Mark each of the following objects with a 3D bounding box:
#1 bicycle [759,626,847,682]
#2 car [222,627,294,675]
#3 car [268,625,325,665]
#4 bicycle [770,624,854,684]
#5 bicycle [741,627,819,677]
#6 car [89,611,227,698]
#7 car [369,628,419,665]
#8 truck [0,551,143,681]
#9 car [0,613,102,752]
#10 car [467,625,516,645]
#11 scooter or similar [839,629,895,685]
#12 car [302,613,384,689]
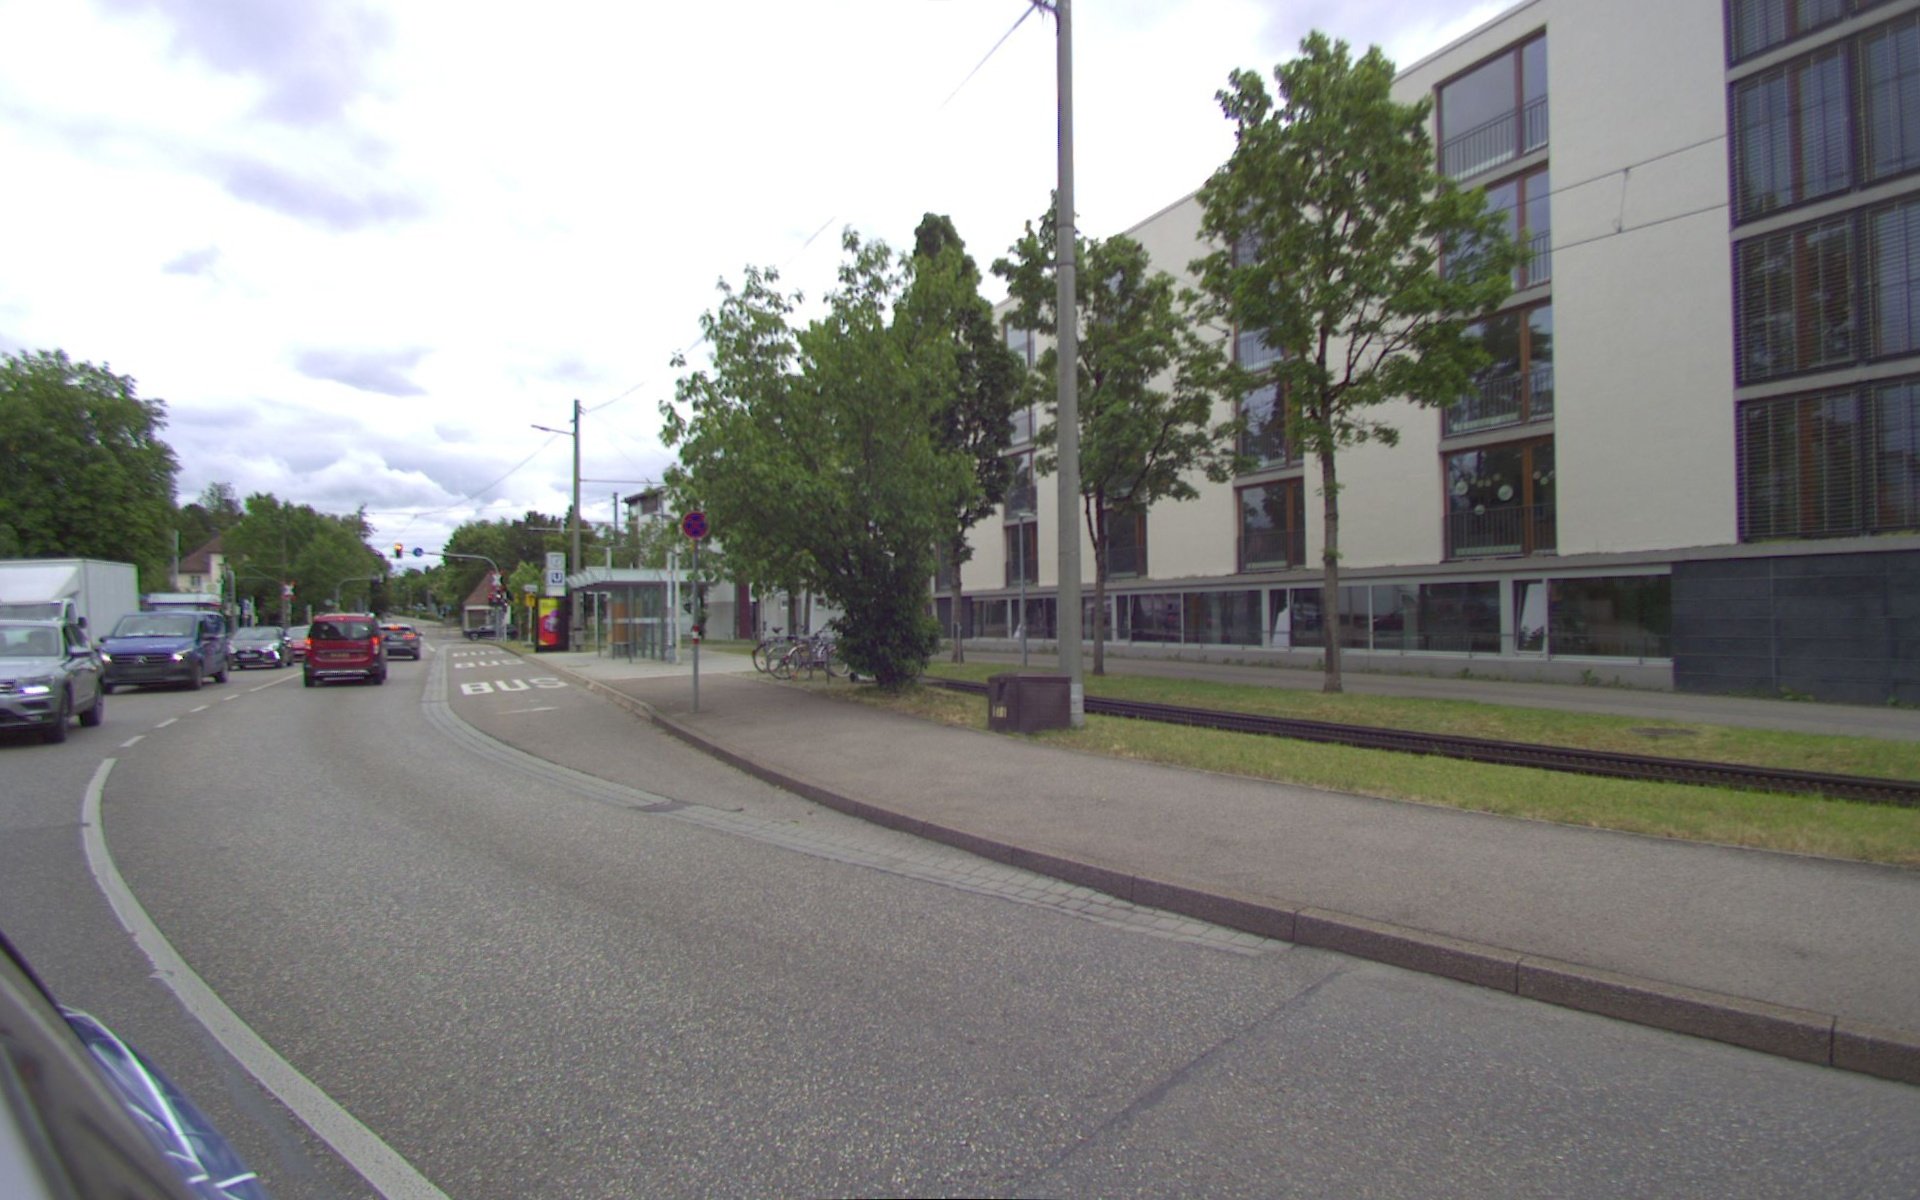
[{"bbox_3d":[-3.244,1.103,20.964,1.724,1.054,0.409,-2,0,-26],"label":"bicycle"},{"bbox_3d":[-24.532,1.734,35.480,1.819,1.546,4.012,0,-2,-31],"label":"car"},{"bbox_3d":[-27.344,1.841,41.811,1.819,1.546,4.012,0,-2,-31],"label":"car"},{"bbox_3d":[-2.964,1.069,20.362,1.683,1.097,0.409,-2,0,-40],"label":"bicycle"},{"bbox_3d":[-4.079,1.168,23.010,1.663,1.032,0.397,-2,0,-26],"label":"bicycle"},{"bbox_3d":[-19.067,1.240,24.247,1.819,1.875,4.013,0,-1,-27],"label":"car"},{"bbox_3d":[-24.033,1.960,43.040,1.743,1.490,4.012,2,-2,-28],"label":"car"},{"bbox_3d":[-27.072,0.470,30.244,2.499,3.452,7.801,0,0,-27],"label":"truck"},{"bbox_3d":[-13.070,1.044,13.675,1.782,1.660,4.342,0,-1,-34],"label":"car"},{"bbox_3d":[-42.969,3.209,92.771,3.931,1.719,1.934,0,-1,-30],"label":"car"},{"bbox_3d":[-1.785,1.072,19.311,0.776,1.017,0.775,0,-1,-35],"label":"scooter or similar"},{"bbox_3d":[-16.124,1.293,26.444,1.657,1.822,4.364,2,-2,-32],"label":"car"}]
